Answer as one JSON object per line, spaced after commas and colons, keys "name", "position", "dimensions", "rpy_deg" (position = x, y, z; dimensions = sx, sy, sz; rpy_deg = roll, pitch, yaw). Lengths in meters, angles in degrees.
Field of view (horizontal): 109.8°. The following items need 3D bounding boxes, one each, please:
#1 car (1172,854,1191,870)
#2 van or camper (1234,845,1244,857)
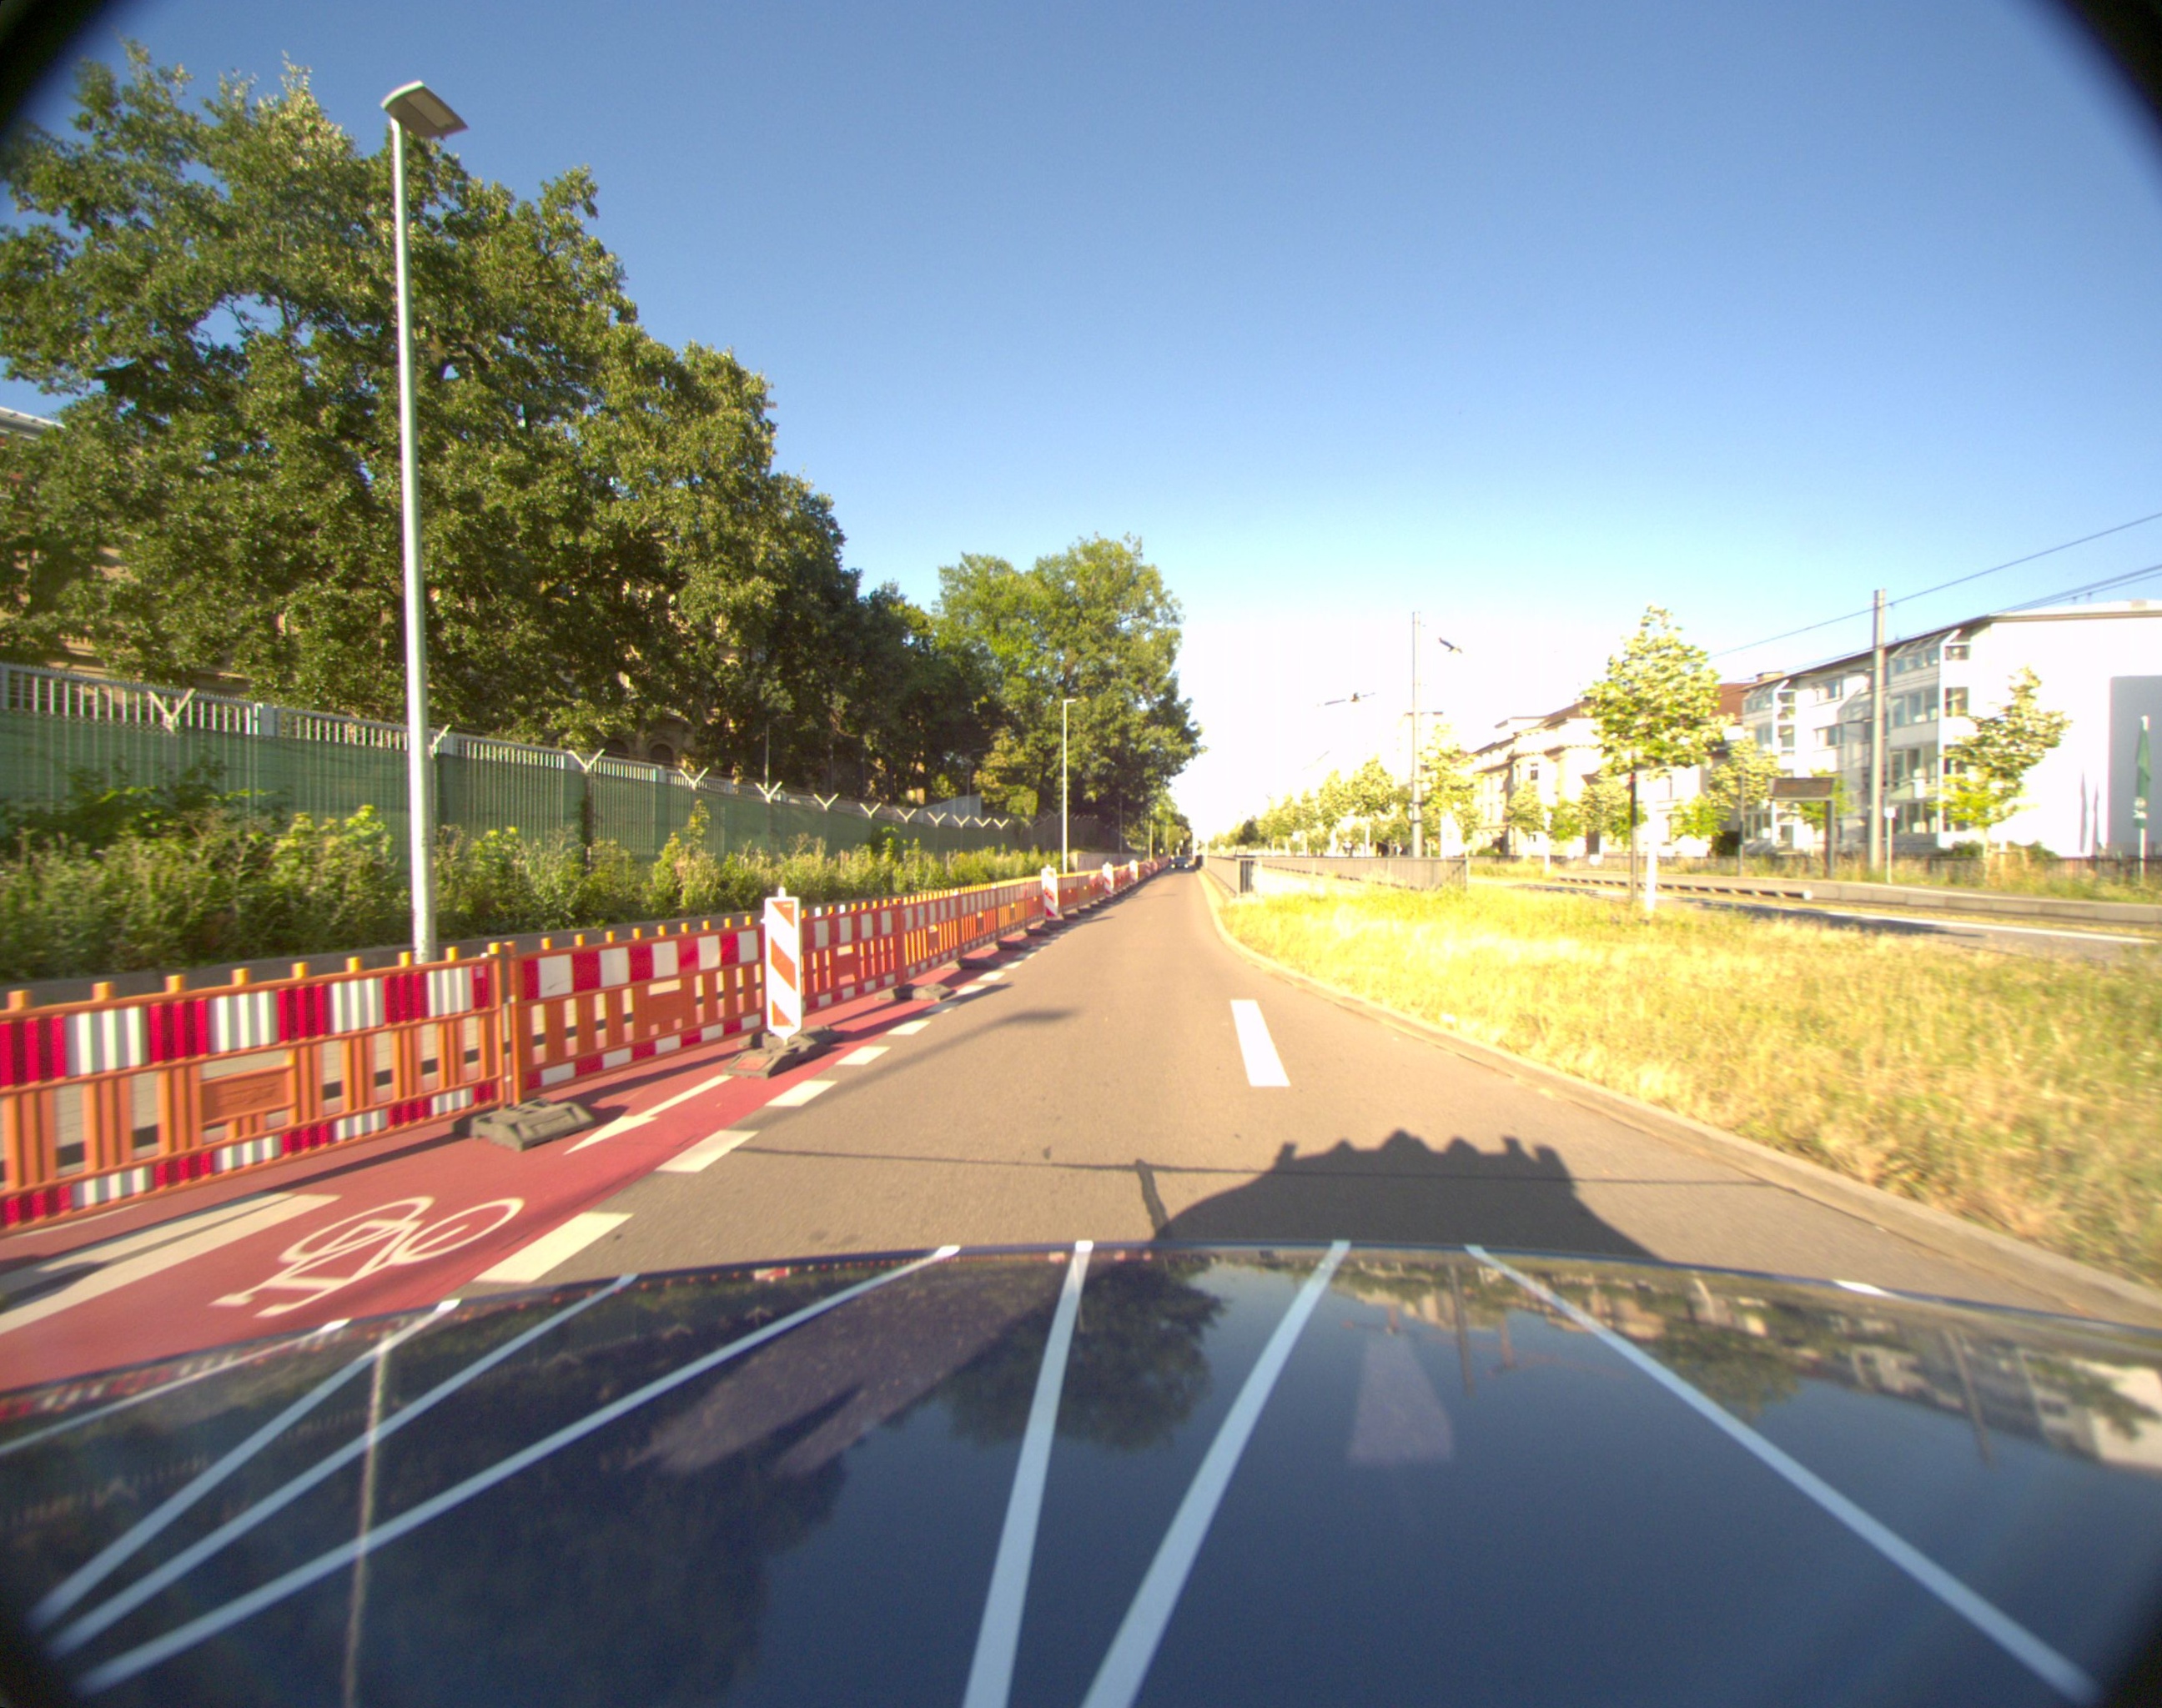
{"name": "car", "position": [11.986, 0.950, 90.336], "dimensions": [2.079, 1.827, 4.002], "rpy_deg": [0, 0, 9]}
{"name": "van or camper", "position": [42.254, -0.690, 202.885], "dimensions": [2.509, 3.149, 7.482], "rpy_deg": [0, 0, 11]}
